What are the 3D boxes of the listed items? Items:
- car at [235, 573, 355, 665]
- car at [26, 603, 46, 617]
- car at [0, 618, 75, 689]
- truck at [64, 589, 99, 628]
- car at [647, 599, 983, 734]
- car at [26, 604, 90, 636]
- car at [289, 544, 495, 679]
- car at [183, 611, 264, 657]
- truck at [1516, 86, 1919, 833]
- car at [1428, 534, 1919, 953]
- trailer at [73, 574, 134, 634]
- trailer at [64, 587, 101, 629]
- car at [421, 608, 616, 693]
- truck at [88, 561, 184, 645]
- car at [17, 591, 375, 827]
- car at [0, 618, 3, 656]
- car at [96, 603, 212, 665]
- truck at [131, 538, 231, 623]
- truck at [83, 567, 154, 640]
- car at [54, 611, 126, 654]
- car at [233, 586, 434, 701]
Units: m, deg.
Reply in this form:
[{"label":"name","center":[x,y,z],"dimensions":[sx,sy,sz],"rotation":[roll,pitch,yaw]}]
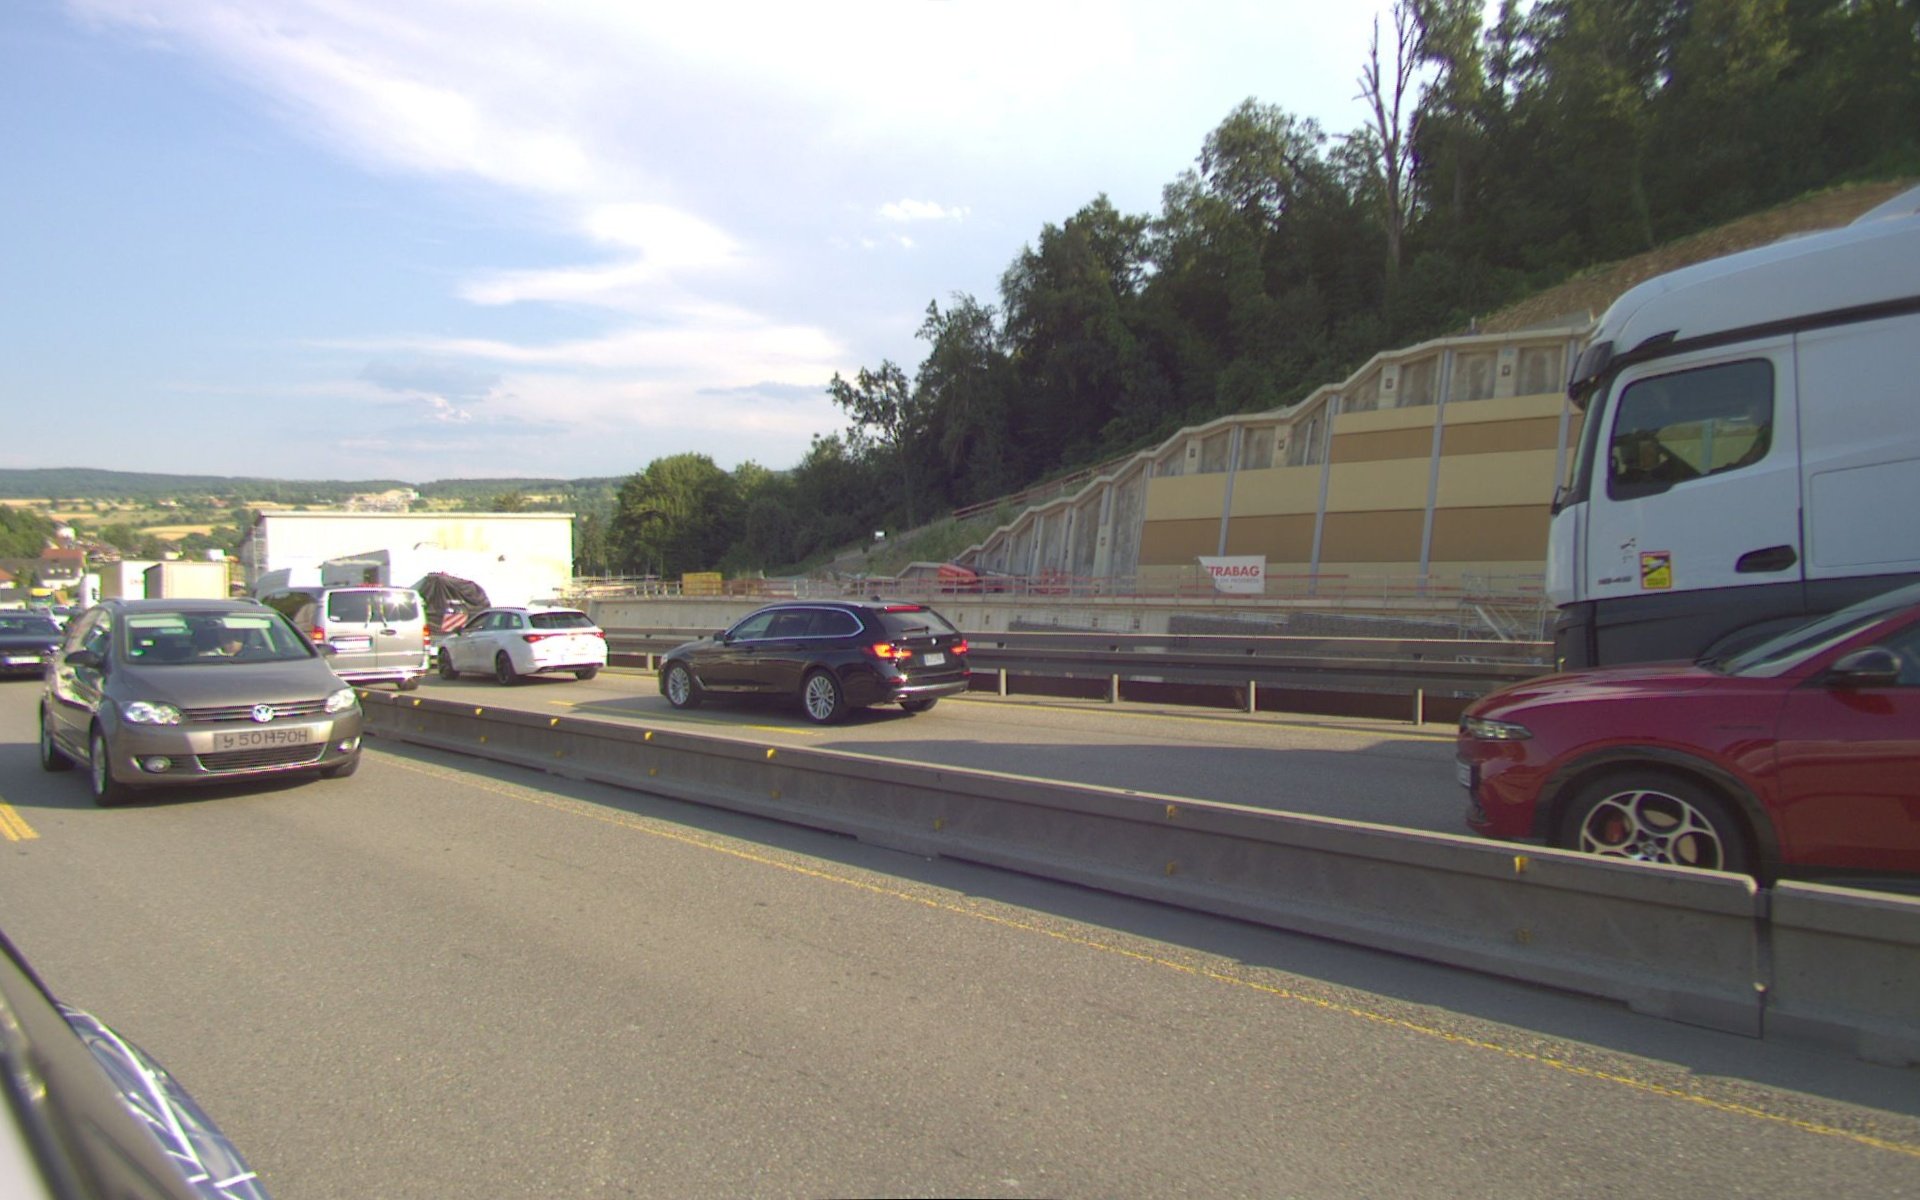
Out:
[{"label":"car","center":[-20.963,0.574,31.789],"dimensions":[5.750,2.640,1.934],"rotation":[0,-1,44]},{"label":"car","center":[-142.634,1.570,156.211],"dimensions":[4.754,2.015,1.797],"rotation":[-2,-3,42]},{"label":"car","center":[-20.832,1.111,22.113],"dimensions":[4.000,1.409,1.842],"rotation":[0,-1,43]},{"label":"truck","center":[-89.266,0.850,102.789],"dimensions":[2.568,3.917,6.210],"rotation":[0,0,-42]},{"label":"car","center":[-2.053,0.766,13.289],"dimensions":[4.711,1.471,1.725],"rotation":[-1,-1,41]},{"label":"car","center":[-46.200,1.064,51.810],"dimensions":[4.727,1.498,2.035],"rotation":[-2,-4,44]},{"label":"car","center":[-14.545,0.276,25.584],"dimensions":[7.632,2.940,2.309],"rotation":[0,-1,43]},{"label":"car","center":[-26.820,1.185,36.808],"dimensions":[4.004,1.535,1.744],"rotation":[-1,0,44]},{"label":"truck","center":[6.928,-0.812,6.291],"dimensions":[5.677,4.250,2.686],"rotation":[-1,0,39]},{"label":"car","center":[4.590,0.506,4.202],"dimensions":[4.451,1.580,1.869],"rotation":[-2,0,40]},{"label":"trailer","center":[-63.703,0.314,75.100],"dimensions":[2.823,4.066,13.984],"rotation":[0,0,-43]},{"label":"trailer","center":[-85.884,0.809,99.015],"dimensions":[2.566,3.910,10.590],"rotation":[0,0,-42]},{"label":"car","center":[-8.668,0.897,19.684],"dimensions":[4.609,1.433,1.730],"rotation":[-1,1,42]},{"label":"truck","center":[-45.293,0.191,55.379],"dimensions":[2.676,4.119,14.161],"rotation":[1,-1,-45]},{"label":"car","center":[-6.811,0.756,8.857],"dimensions":[4.097,1.585,1.666],"rotation":[-1,0,41]},{"label":"car","center":[-36.659,1.415,37.433],"dimensions":[1.674,1.409,4.005],"rotation":[-2,0,-42]},{"label":"car","center":[-22.756,0.979,28.515],"dimensions":[4.754,1.591,1.797],"rotation":[-2,-3,42]},{"label":"truck","center":[-34.760,-0.776,45.022],"dimensions":[7.619,3.489,2.420],"rotation":[-1,0,44]},{"label":"truck","center":[-50.124,0.239,60.234],"dimensions":[6.104,4.119,2.682],"rotation":[-1,-1,45]},{"label":"car","center":[-34.810,1.303,40.447],"dimensions":[4.000,1.533,1.762],"rotation":[-2,0,44]},{"label":"car","center":[-11.489,0.765,18.362],"dimensions":[5.454,1.785,1.784],"rotation":[-3,-1,44]}]
